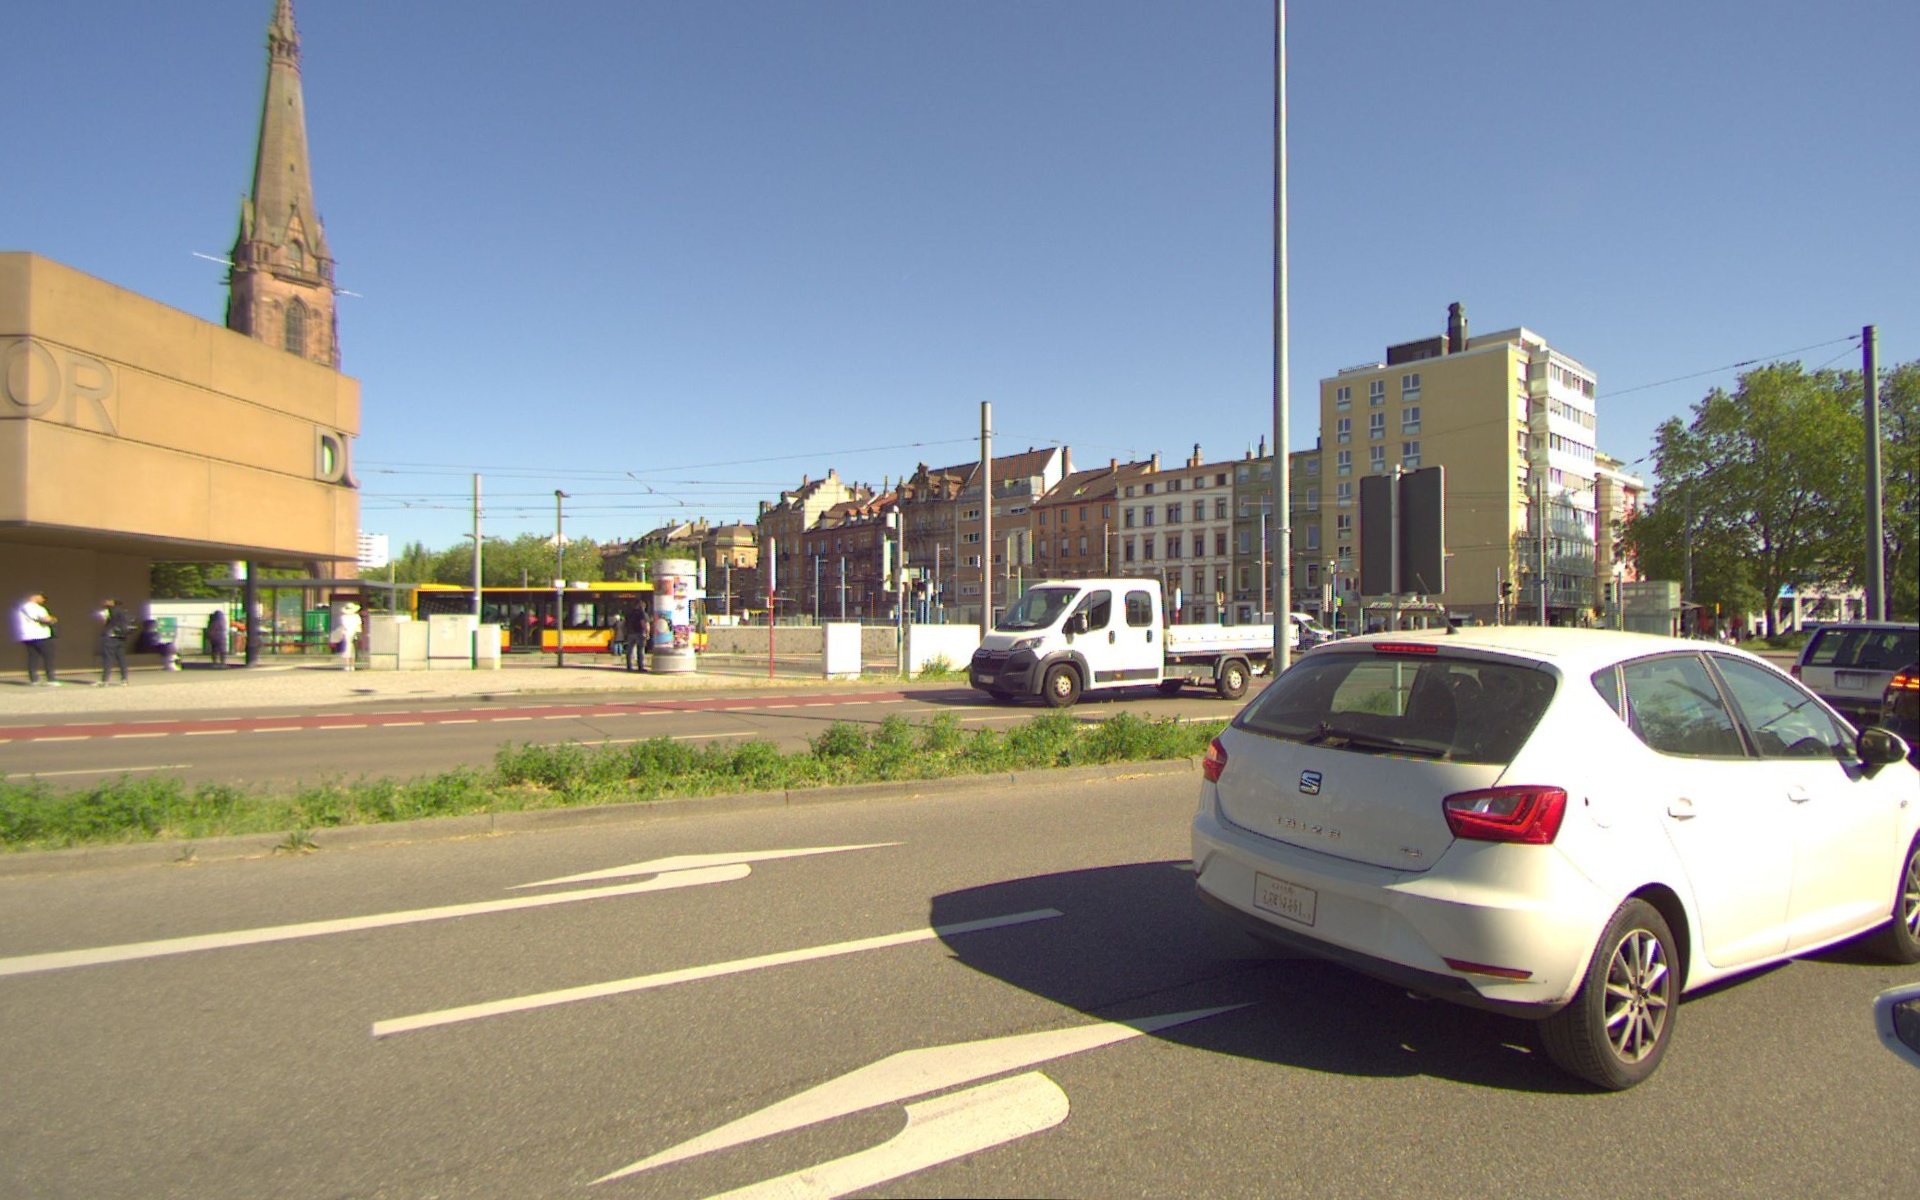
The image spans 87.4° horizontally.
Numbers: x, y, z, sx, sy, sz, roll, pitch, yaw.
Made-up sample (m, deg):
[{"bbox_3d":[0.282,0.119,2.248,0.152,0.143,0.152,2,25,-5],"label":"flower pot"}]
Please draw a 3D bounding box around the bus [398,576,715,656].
[{"bbox_3d":[-16.938,0.682,42.671,12.336,3.258,2.975,0,-1,2],"label":"bus"}]

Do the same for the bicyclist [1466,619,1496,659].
[{"bbox_3d":[19.123,1.424,36.881,0.635,1.463,0.771,1,-1,-26],"label":"bicyclist"}]

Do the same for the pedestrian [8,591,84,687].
[{"bbox_3d":[-17.178,0.730,18.888,0.584,1.745,0.791,2,-2,15],"label":"pedestrian"}]

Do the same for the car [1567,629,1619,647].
[{"bbox_3d":[49.733,2.960,78.903,1.515,1.334,3.229,-2,0,-45],"label":"car"}]

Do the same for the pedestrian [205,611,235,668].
[{"bbox_3d":[-20.188,1.077,27.424,0.503,1.529,0.742,3,-2,-30],"label":"pedestrian"}]

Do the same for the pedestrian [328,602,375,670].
[{"bbox_3d":[-16.168,0.957,26.700,0.634,1.745,0.790,2,-2,3],"label":"pedestrian"}]

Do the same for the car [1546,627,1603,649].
[{"bbox_3d":[46.396,2.865,75.906,1.682,1.530,3.398,2,-2,-44],"label":"car"}]

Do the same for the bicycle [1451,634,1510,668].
[{"bbox_3d":[19.100,1.852,36.913,0.635,1.180,1.944,1,-1,-26],"label":"bicycle"}]

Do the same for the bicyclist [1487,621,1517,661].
[{"bbox_3d":[20.091,1.520,37.243,0.635,1.463,0.771,1,-1,-27],"label":"bicyclist"}]

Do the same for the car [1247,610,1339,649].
[{"bbox_3d":[21.686,1.890,65.570,1.985,2.443,5.437,1,-2,-42],"label":"car"}]

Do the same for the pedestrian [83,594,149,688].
[{"bbox_3d":[-16.292,0.791,19.410,0.738,1.745,0.639,3,-2,-25],"label":"pedestrian"}]

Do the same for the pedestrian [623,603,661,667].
[{"bbox_3d":[-8.938,0.982,28.260,0.634,1.745,0.791,2,-2,15],"label":"pedestrian"}]

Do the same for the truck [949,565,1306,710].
[{"bbox_3d":[3.288,0.689,18.909,6.801,2.344,2.204,1,-1,-30],"label":"truck"}]

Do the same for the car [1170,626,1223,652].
[{"bbox_3d":[20.141,3.266,85.640,1.984,2.040,3.953,-2,0,-41],"label":"car"}]

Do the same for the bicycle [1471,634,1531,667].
[{"bbox_3d":[20.060,1.863,37.292,0.635,1.180,1.944,1,-1,-26],"label":"bicycle"}]

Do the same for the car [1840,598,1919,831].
[{"bbox_3d":[8.936,0.852,7.689,4.325,1.645,1.975,1,0,-29],"label":"car"}]

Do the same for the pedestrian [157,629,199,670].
[{"bbox_3d":[-19.267,1.216,24.751,0.563,0.979,0.509,2,-2,8],"label":"pedestrian"}]

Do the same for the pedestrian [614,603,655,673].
[{"bbox_3d":[-8.390,0.965,25.905,0.634,1.765,0.790,2,1,15],"label":"pedestrian"}]

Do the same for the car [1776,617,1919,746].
[{"bbox_3d":[12.461,0.959,12.885,3.749,1.461,1.719,0,-1,-27],"label":"car"}]

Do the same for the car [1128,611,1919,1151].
[{"bbox_3d":[2.722,0.818,4.447,3.694,1.455,1.682,1,0,-31],"label":"car"}]

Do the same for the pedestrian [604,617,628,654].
[{"bbox_3d":[-13.395,1.379,39.150,0.635,1.412,0.791,1,-1,-40],"label":"pedestrian"}]

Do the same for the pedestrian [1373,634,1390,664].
[{"bbox_3d":[20.683,2.382,49.278,0.564,1.427,0.588,-2,1,-41],"label":"pedestrian"}]
